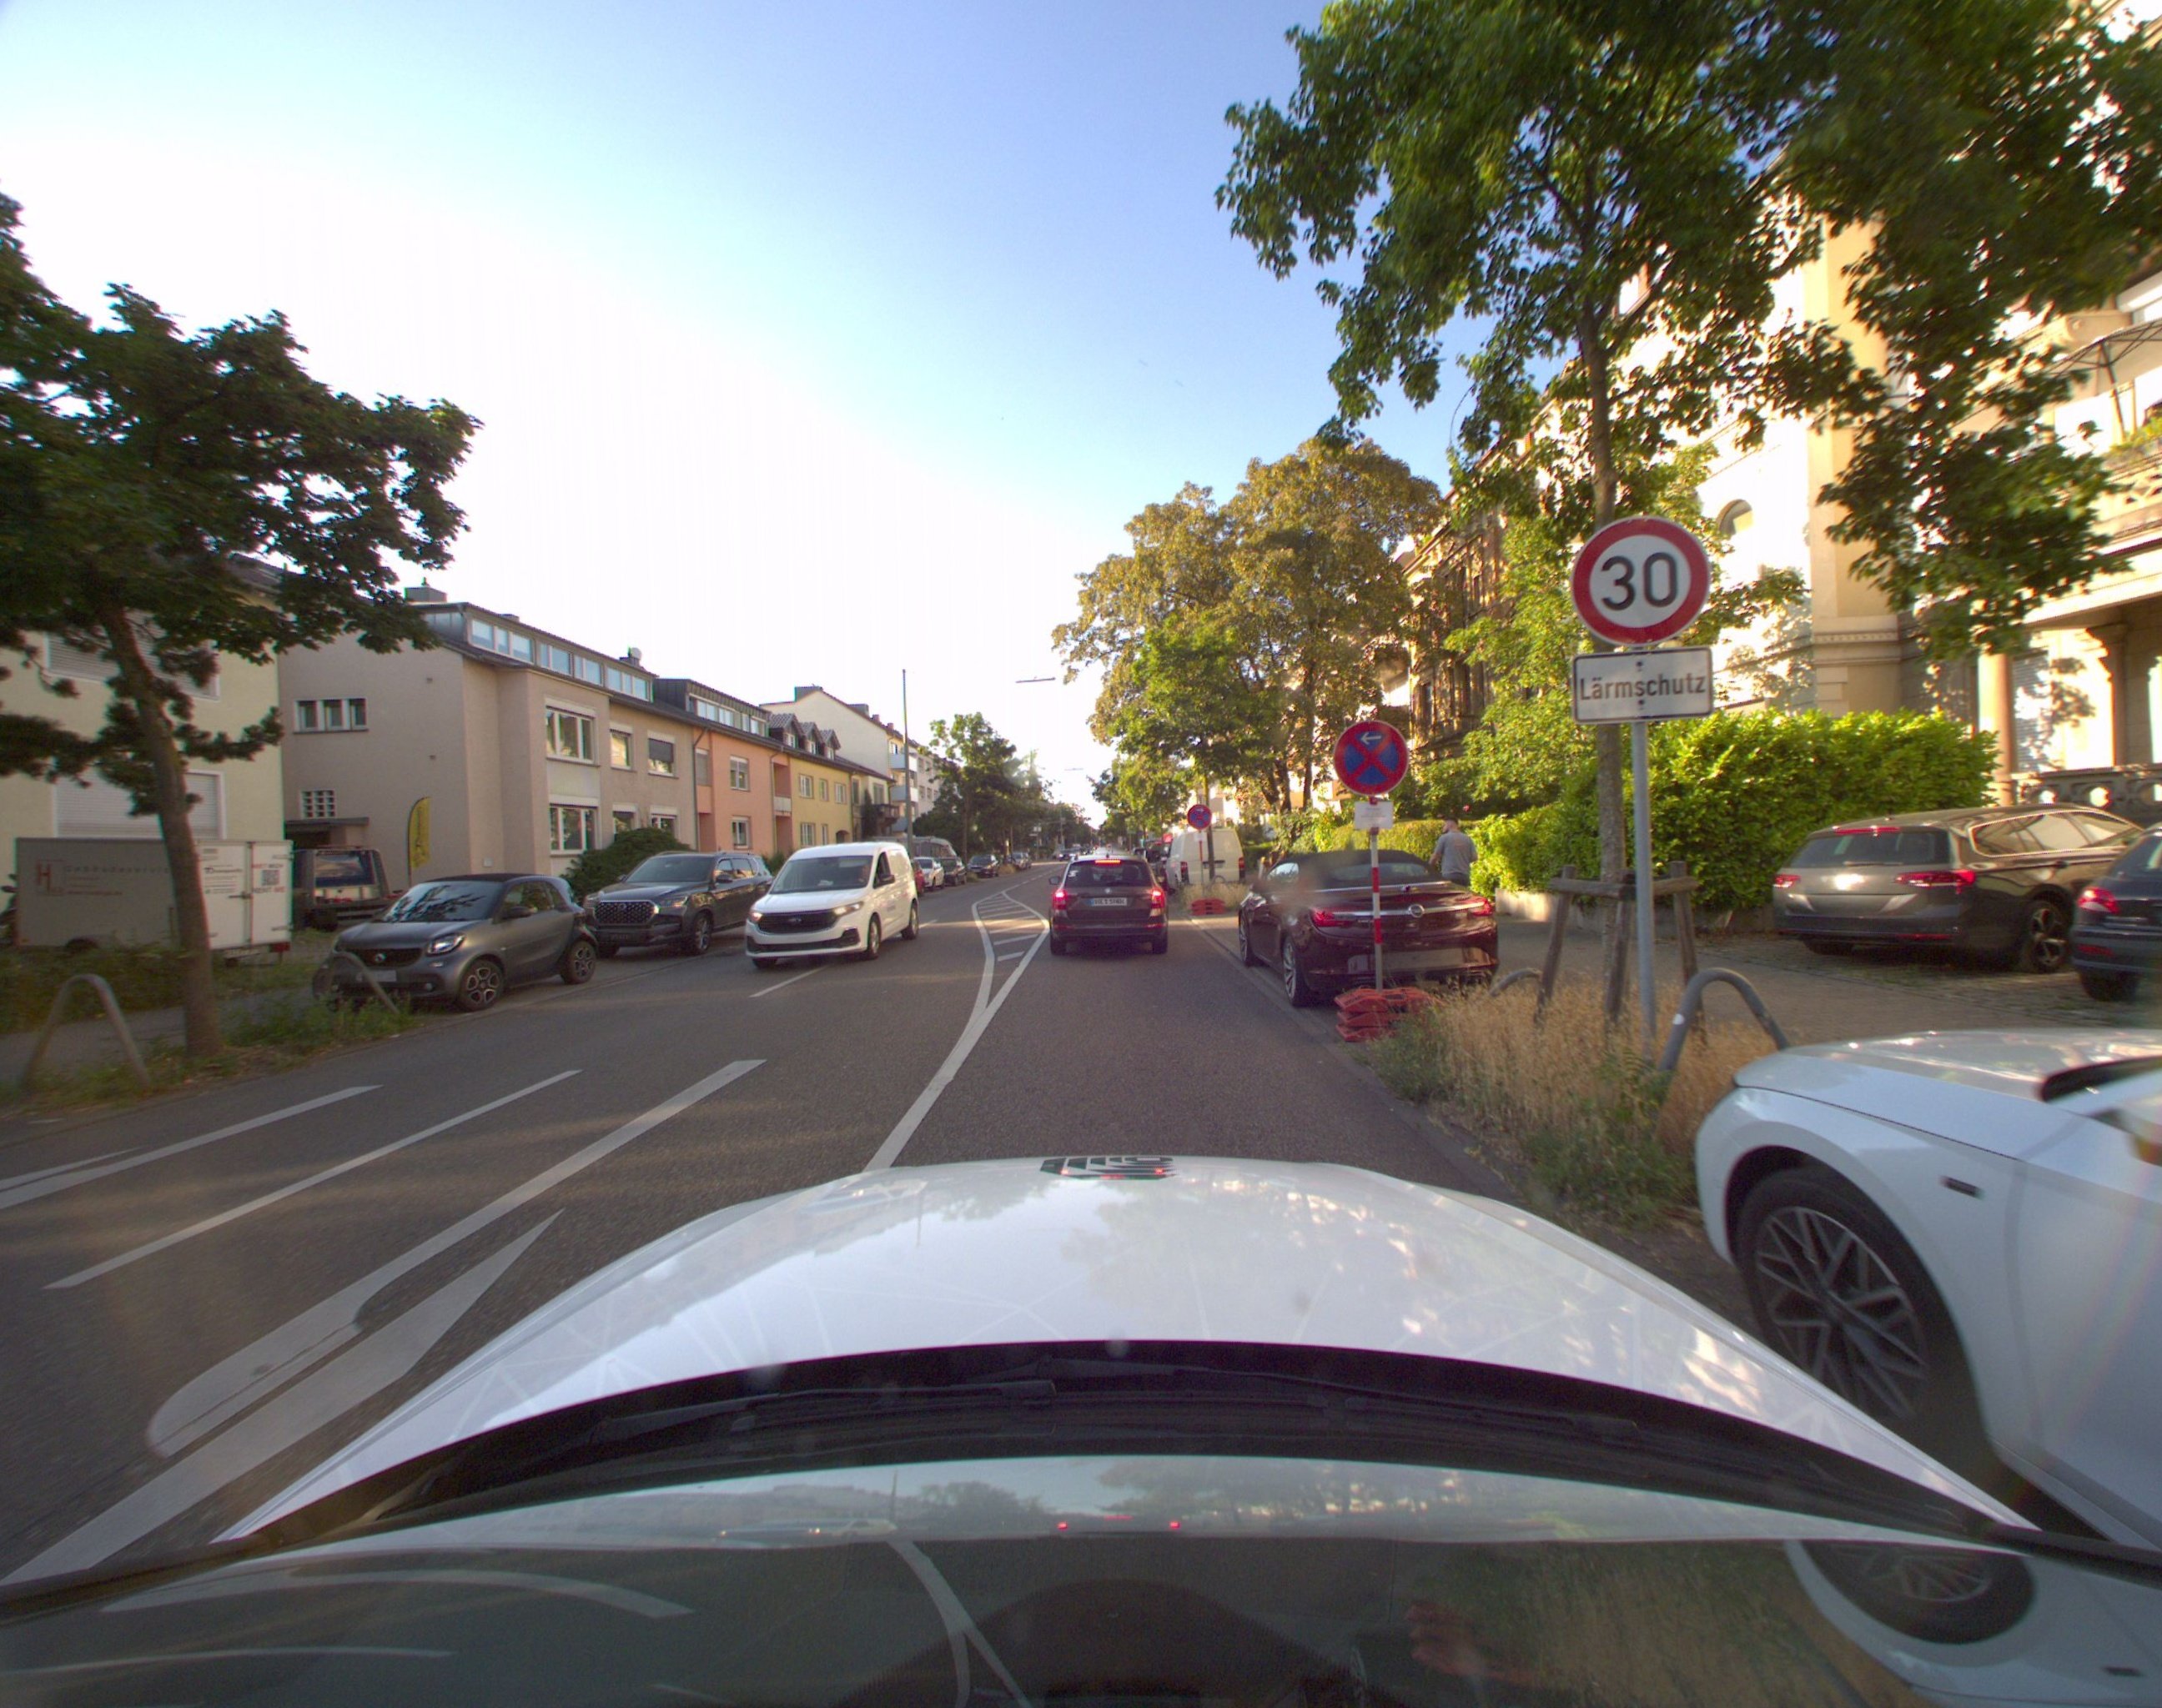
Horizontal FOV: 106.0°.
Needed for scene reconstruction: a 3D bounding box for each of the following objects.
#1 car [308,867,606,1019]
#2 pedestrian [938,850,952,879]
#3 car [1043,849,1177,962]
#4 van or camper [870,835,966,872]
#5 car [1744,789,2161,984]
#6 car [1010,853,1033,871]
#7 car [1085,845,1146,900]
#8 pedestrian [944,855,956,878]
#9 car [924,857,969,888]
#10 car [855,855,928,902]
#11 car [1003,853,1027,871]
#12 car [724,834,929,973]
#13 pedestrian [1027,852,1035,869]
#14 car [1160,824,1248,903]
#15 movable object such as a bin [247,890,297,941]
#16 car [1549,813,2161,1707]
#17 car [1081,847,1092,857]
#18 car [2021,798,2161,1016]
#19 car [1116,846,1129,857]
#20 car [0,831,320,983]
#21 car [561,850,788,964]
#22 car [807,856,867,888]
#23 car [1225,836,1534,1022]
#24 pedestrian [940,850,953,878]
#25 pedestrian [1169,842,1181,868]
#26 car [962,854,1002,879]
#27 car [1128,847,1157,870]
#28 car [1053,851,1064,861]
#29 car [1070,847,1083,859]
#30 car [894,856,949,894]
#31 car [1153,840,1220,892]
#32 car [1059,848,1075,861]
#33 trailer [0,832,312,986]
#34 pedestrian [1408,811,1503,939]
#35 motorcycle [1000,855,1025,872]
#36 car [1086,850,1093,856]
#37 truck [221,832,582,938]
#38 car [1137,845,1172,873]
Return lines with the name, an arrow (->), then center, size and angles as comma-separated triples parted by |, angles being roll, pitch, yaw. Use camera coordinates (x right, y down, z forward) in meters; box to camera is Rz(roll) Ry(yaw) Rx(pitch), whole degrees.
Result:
car -> -7.608, 0.990, 10.259 | 1.568, 1.555, 2.749 | -2, 0, 0
pedestrian -> -8.469, 0.663, 50.651 | 0.710, 1.792, 0.506 | -2, 0, 4
car -> 0.439, 0.680, 13.106 | 1.767, 1.489, 4.312 | -1, 0, 1
van or camper -> -12.356, -0.041, 61.987 | 6.774, 2.772, 2.352 | 0, 0, 0
car -> 9.340, 0.214, 8.405 | 4.248, 1.510, 1.781 | -4, 1, -17
car -> -5.424, 0.706, 74.102 | 1.642, 1.517, 4.075 | -1, 0, 2
car -> 1.041, 0.520, 25.147 | 1.730, 1.571, 4.001 | 0, 0, 1
pedestrian -> -8.568, 0.828, 53.232 | 0.587, 1.495, 0.543 | -2, 0, 4
car -> -6.678, 0.904, 40.756 | 1.537, 1.396, 3.667 | -2, 0, 1
car -> -6.871, 0.857, 29.822 | 1.586, 1.523, 3.440 | -2, 0, 4
car -> -5.572, 0.640, 69.473 | 1.587, 1.470, 3.805 | 0, 0, 2
car -> -3.937, 0.671, 13.495 | 1.882, 1.803, 4.431 | -4, 0, 0
pedestrian -> -5.872, 0.786, 95.078 | 0.777, 1.987, 0.821 | -2, 0, 2
car -> 3.613, 0.254, 24.740 | 1.897, 2.103, 4.640 | -2, 0, 0
movable object such as a bin -> -17.284, 1.299, 17.402 | 0.479, 1.031, 0.538 | -2, 0, 2
car -> 2.639, 0.644, 0.783 | 1.814, 1.477, 4.624 | -2, 0, 2
car -> 1.135, -0.350, 166.336 | 1.986, 1.908, 4.965 | -4, 0, 1
car -> 9.379, 0.256, 6.165 | 4.103, 1.441, 1.704 | -4, 1, -22
car -> 6.962, -0.434, 135.906 | 1.984, 1.772, 4.005 | 0, 0, 4
car -> -14.010, 0.747, 12.069 | 3.816, 1.972, 1.652 | -2, 0, 1
car -> -7.435, 0.843, 15.564 | 1.881, 1.779, 4.726 | -2, 0, 0
car -> -12.390, 0.890, 41.580 | 1.658, 1.409, 3.756 | -3, 0, 3
car -> 2.887, 0.612, 9.069 | 1.751, 1.420, 4.616 | -4, 0, 1
pedestrian -> -8.925, 0.642, 54.033 | 0.710, 1.792, 0.572 | -2, 0, 4
pedestrian -> 6.330, 0.074, 54.973 | 0.660, 1.749, 0.773 | -4, 0, 3
car -> -6.350, 0.796, 52.664 | 1.860, 1.494, 4.519 | 0, 0, 2
car -> 4.576, 0.320, 60.850 | 1.849, 1.581, 4.014 | -4, 0, 1
car -> -3.574, 0.314, 131.849 | 1.517, 1.457, 3.586 | -2, 0, 2
car -> -0.758, -0.095, 132.402 | 1.799, 1.804, 4.747 | -4, 0, 1
car -> -6.990, 0.875, 35.990 | 1.587, 1.523, 3.891 | -2, 0, 0
car -> 3.715, 0.400, 29.434 | 1.849, 1.603, 4.312 | -5, 0, 1
car -> -1.820, 0.086, 105.906 | 1.829, 1.570, 4.001 | -4, 0, 1
trailer -> -13.501, 0.751, 11.986 | 2.765, 2.013, 1.552 | -2, 0, -1
pedestrian -> 5.484, 0.295, 12.005 | 0.818, 1.774, 1.088 | -2, 0, -3
motorcycle -> -5.561, 0.783, 65.761 | 2.028, 1.265, 0.772 | -2, 0, 40
car -> 2.432, -0.399, 232.495 | 1.823, 1.579, 4.002 | -2, 0, 2
truck -> -16.424, 0.715, 19.969 | 6.870, 2.185, 2.277 | -2, 0, 1
car -> 4.317, 0.297, 48.442 | 1.702, 1.480, 4.269 | -4, 0, 1
